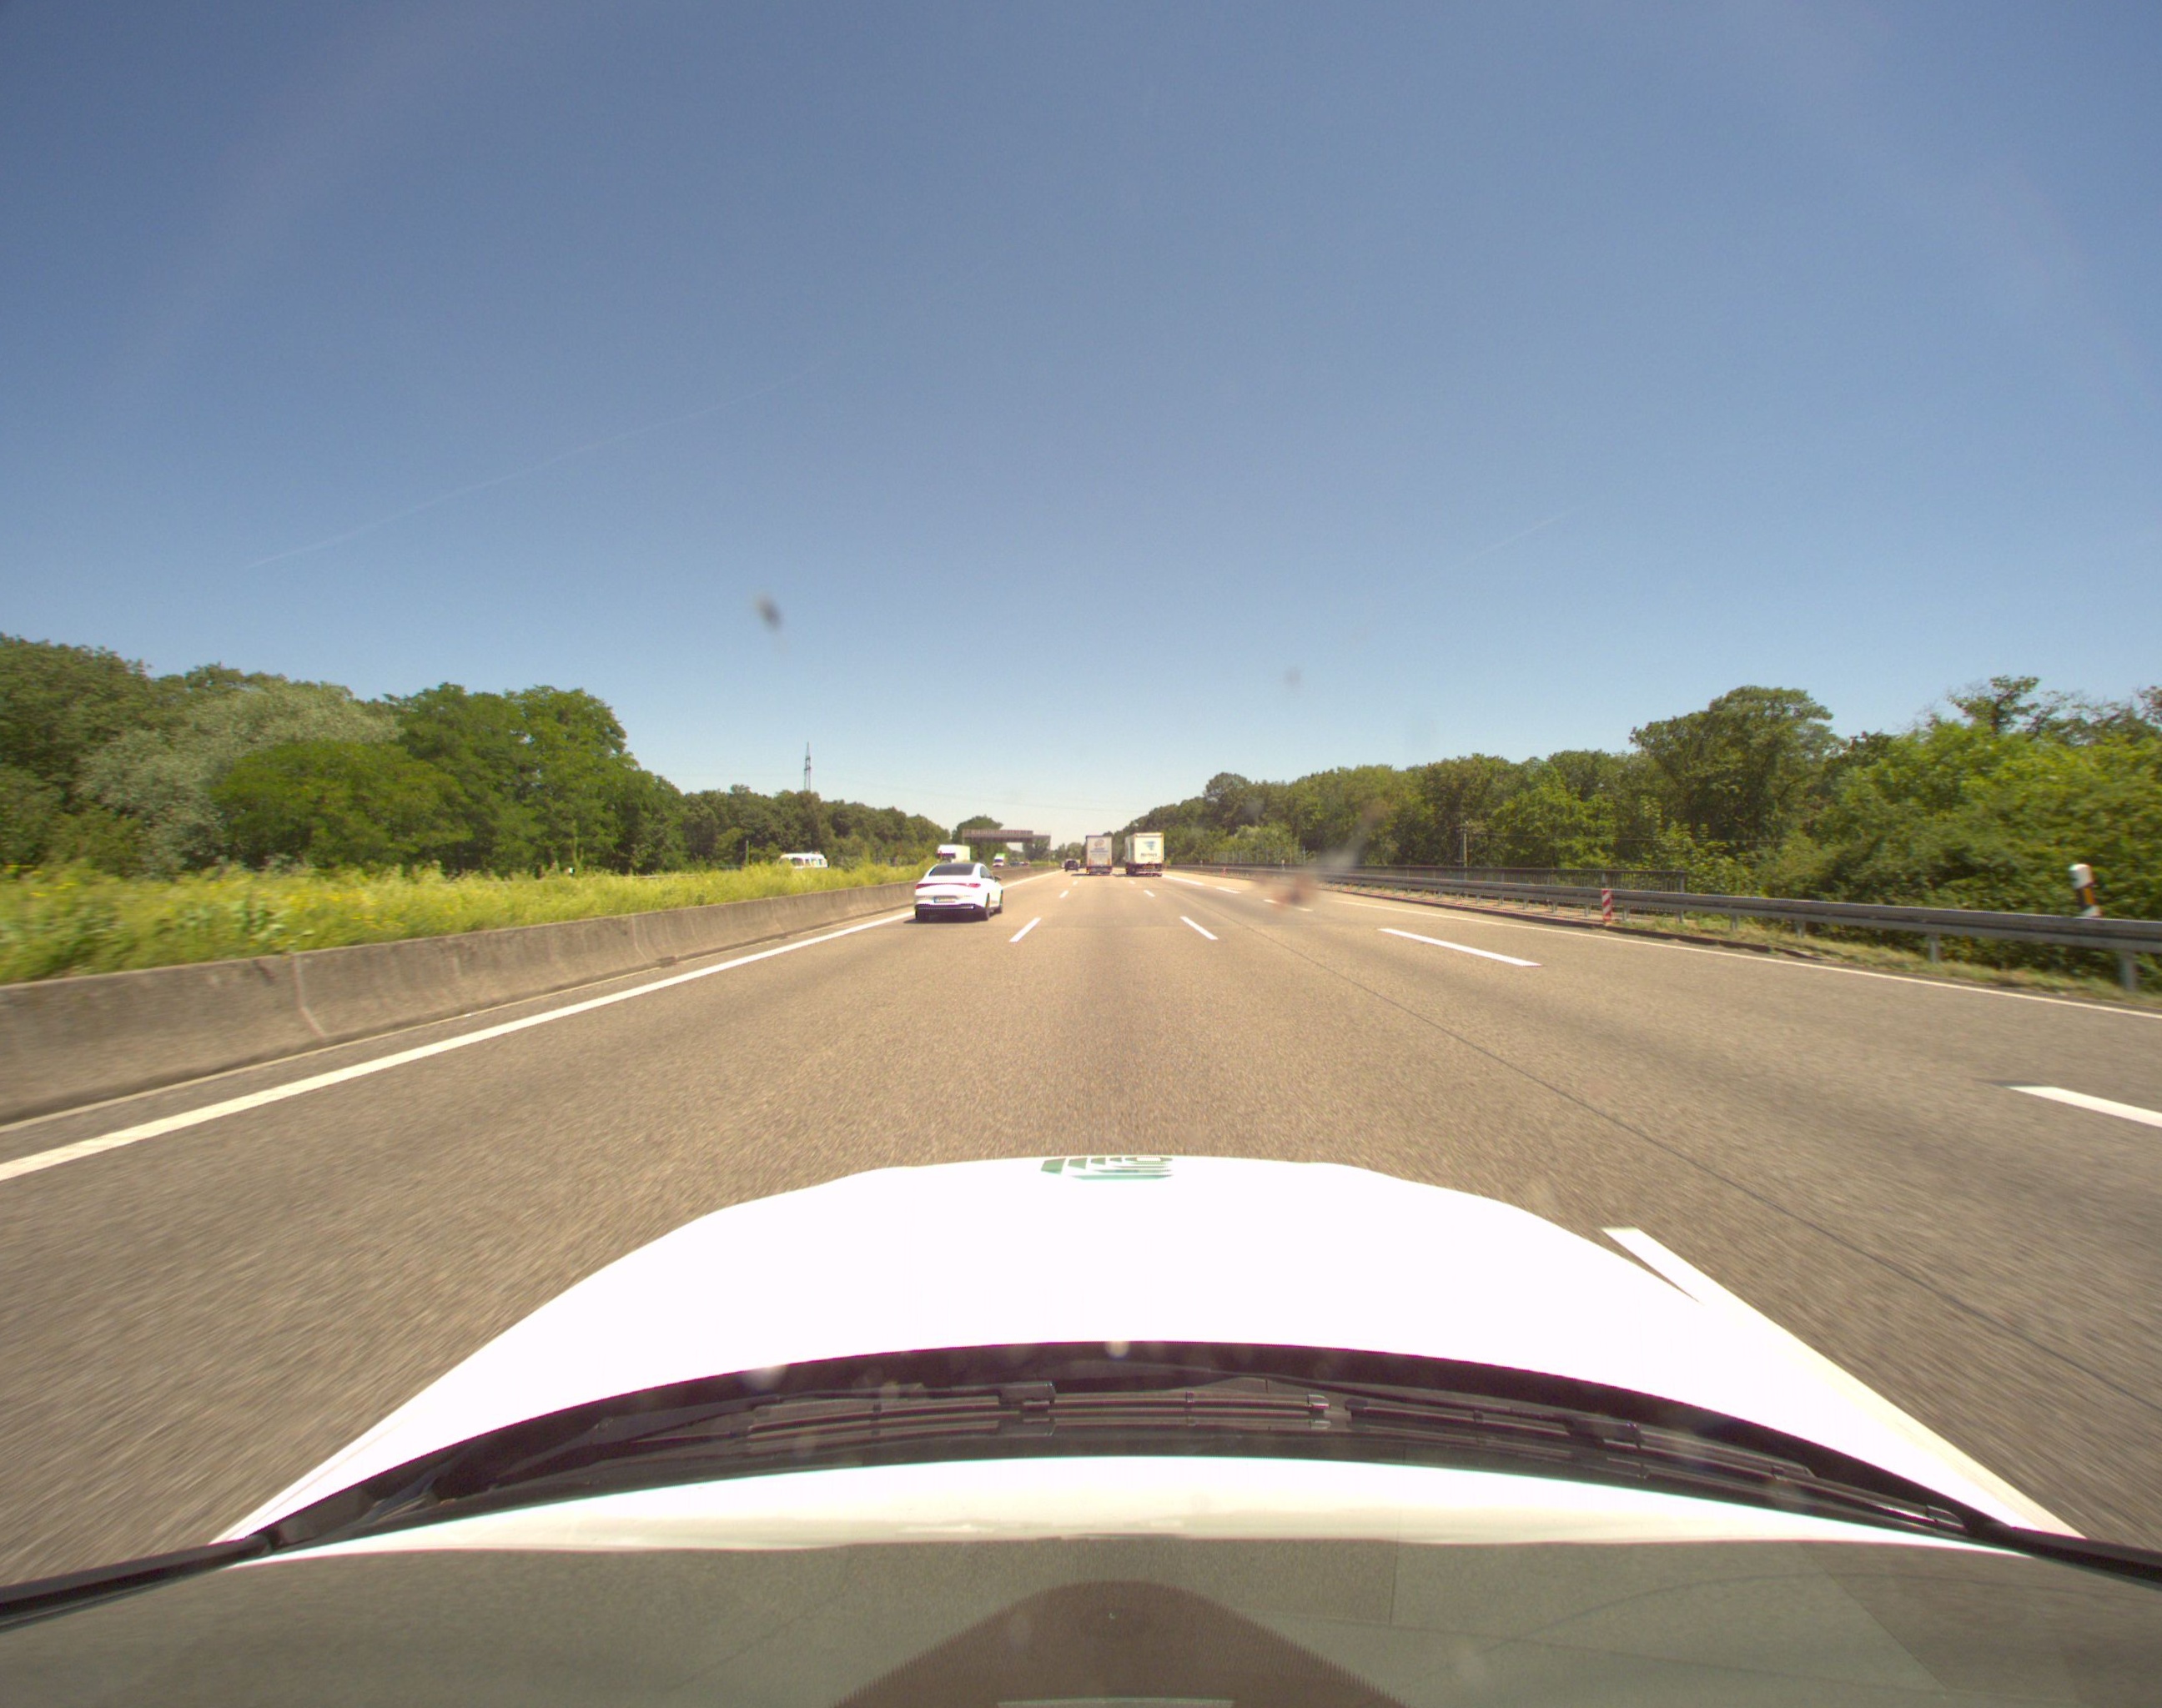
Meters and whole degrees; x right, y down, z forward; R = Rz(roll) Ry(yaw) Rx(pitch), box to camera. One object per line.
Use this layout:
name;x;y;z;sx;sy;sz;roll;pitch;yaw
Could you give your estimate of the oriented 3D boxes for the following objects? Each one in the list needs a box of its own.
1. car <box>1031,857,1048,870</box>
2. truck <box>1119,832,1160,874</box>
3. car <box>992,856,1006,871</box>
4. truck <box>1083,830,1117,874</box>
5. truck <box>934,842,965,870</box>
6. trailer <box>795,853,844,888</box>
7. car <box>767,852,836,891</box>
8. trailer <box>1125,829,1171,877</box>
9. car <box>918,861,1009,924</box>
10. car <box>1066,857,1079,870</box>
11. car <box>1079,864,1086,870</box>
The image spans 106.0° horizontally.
car;-6.397;1.425;126.035;2.283;2.014;4.713;-1;0;2
truck;6.002;-0.147;85.026;3.316;4.052;10.950;0;1;-1
car;-15.193;1.759;151.826;1.987;2.568;6.128;-1;-1;0
truck;1.877;-0.205;82.398;3.219;4.202;8.465;0;0;0
truck;-19.139;0.337;119.385;3.038;3.977;8.288;-1;0;1
trailer;-15.765;0.957;49.201;2.095;2.026;2.369;-1;0;1
car;-15.838;0.939;46.443;2.117;2.082;4.972;-1;0;2
trailer;6.102;-0.115;75.404;3.357;4.142;9.089;0;1;-1
car;-3.127;0.972;22.625;1.761;1.448;5.107;-2;0;0
car;-1.280;1.426;123.539;1.988;1.874;3.999;0;1;-1
car;0.471;4.030;254.126;1.988;1.596;3.998;-1;0;-1
